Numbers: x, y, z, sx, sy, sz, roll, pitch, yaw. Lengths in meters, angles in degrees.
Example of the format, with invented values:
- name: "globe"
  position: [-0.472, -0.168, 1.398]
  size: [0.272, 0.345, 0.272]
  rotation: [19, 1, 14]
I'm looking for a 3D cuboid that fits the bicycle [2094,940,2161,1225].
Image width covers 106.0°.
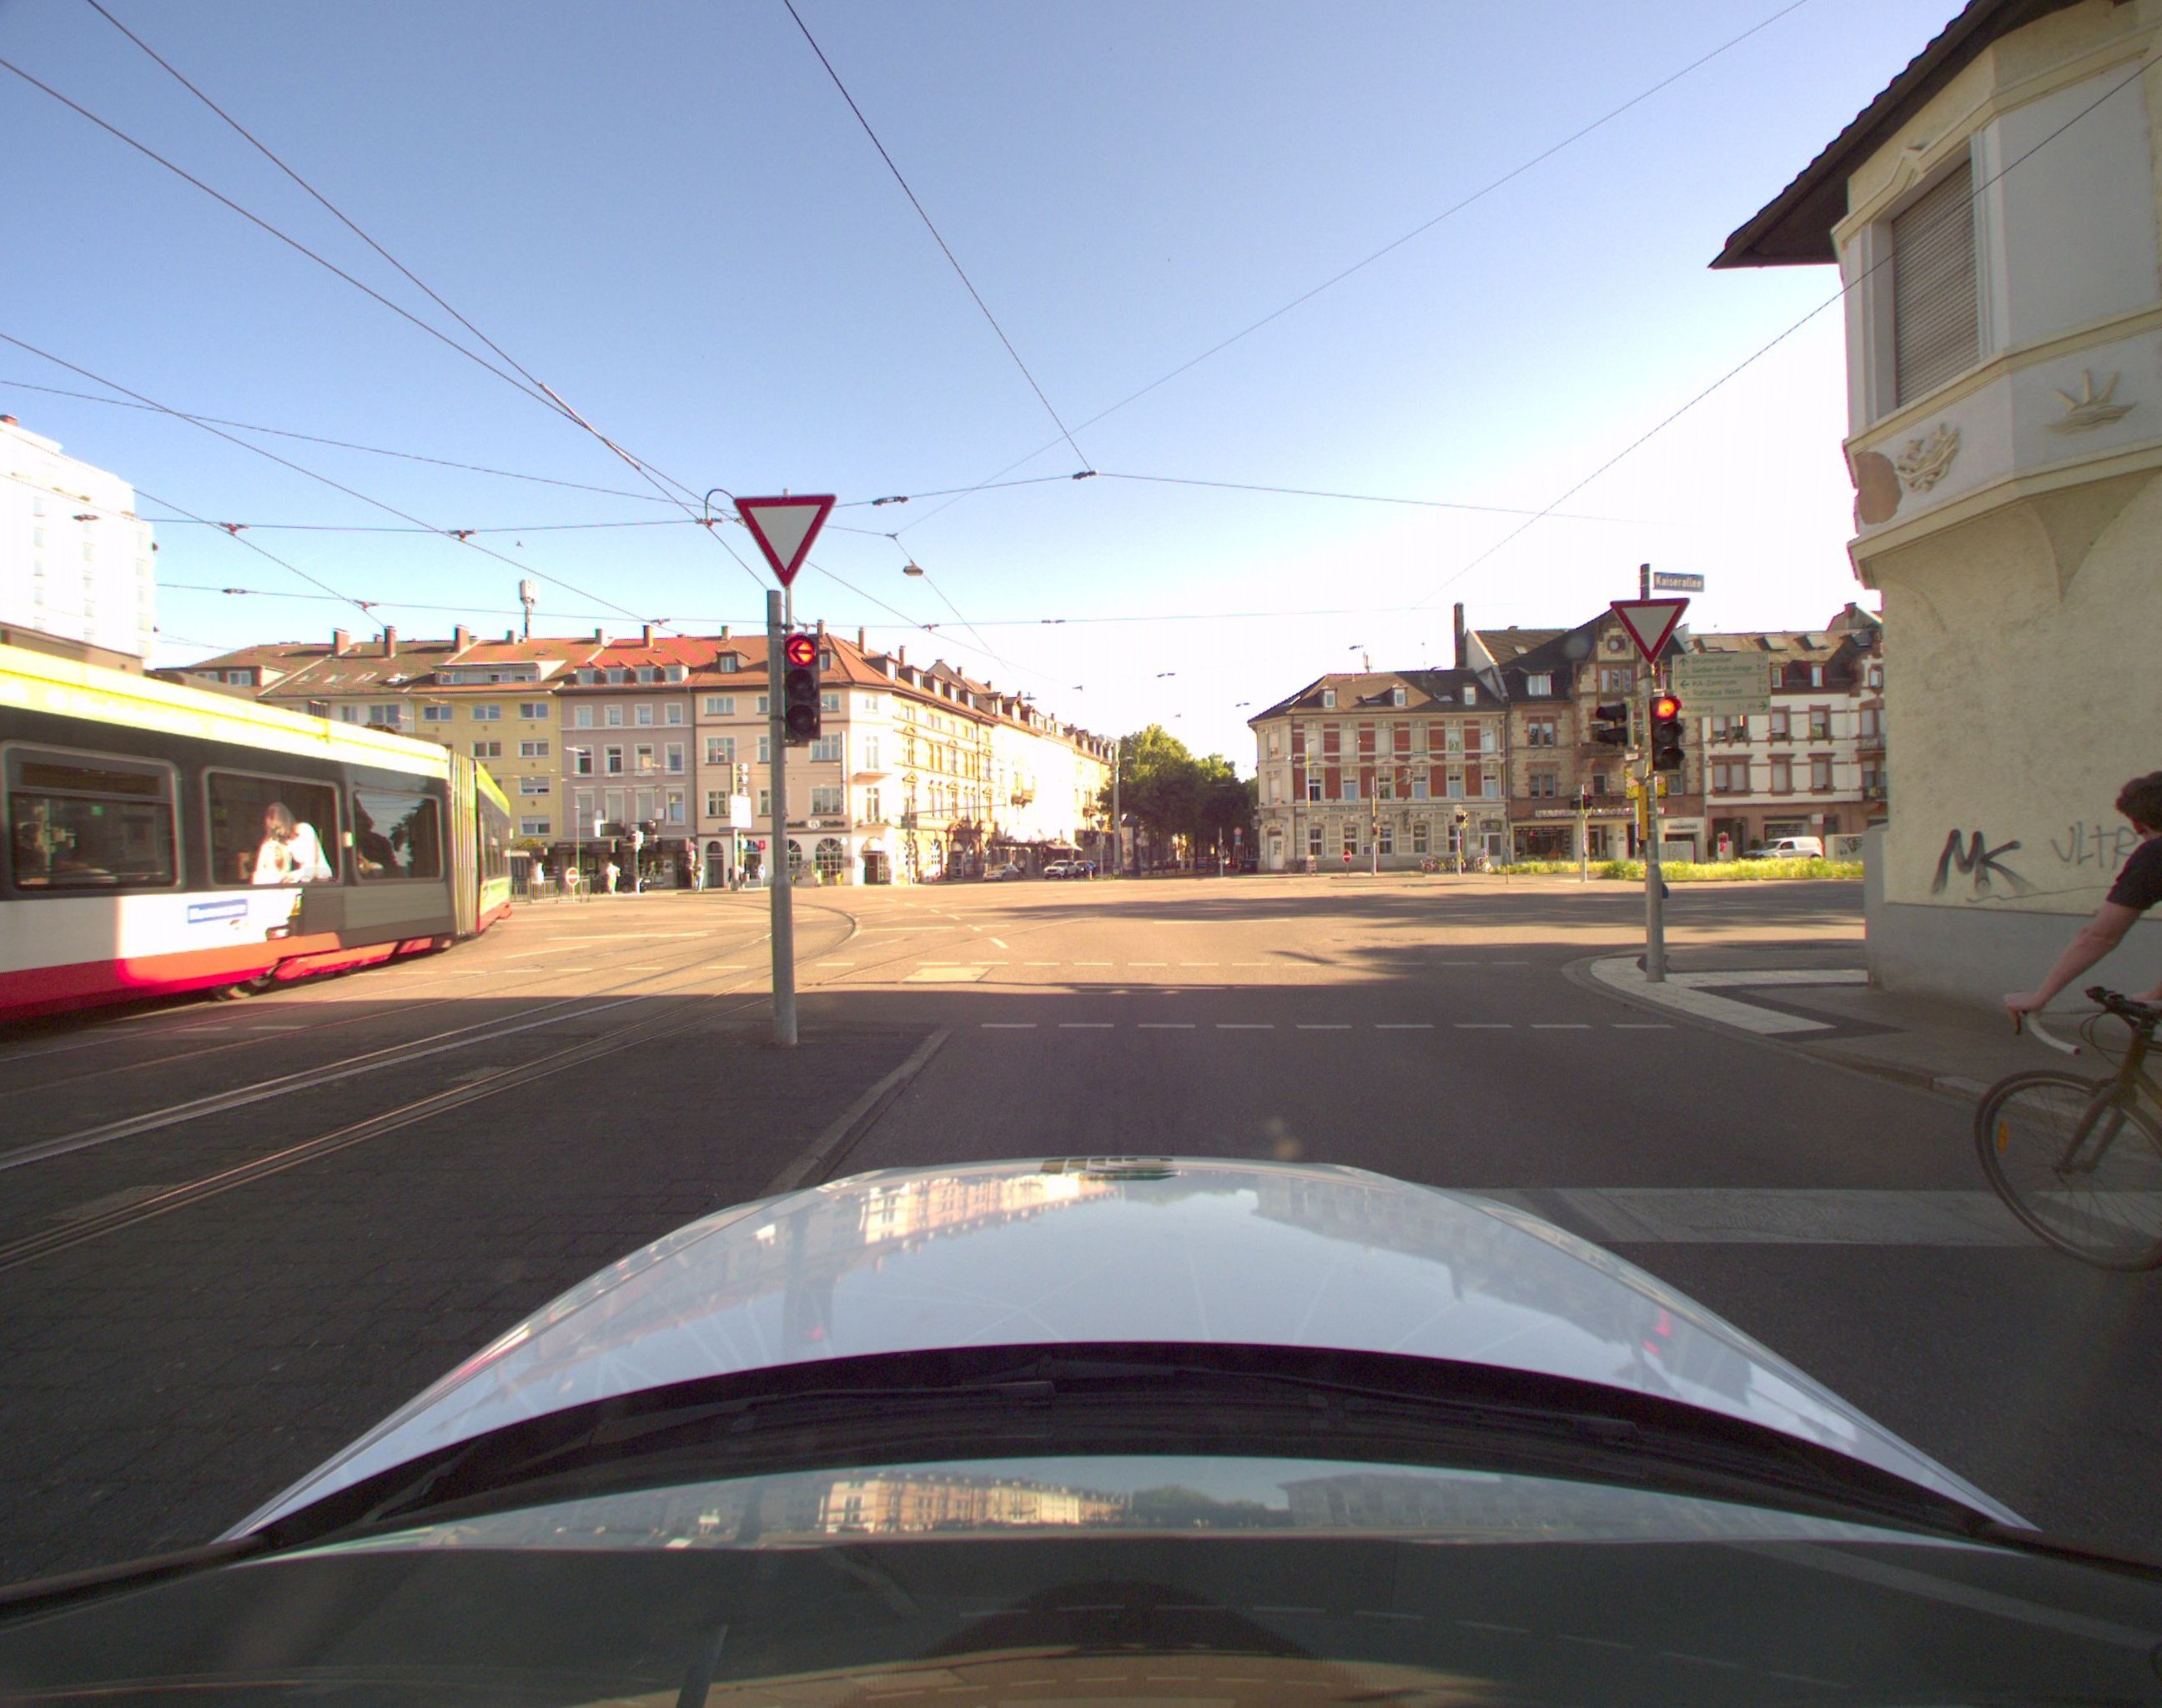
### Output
- name: "bicycle"
  position: [4.488, 0.935, 2.510]
  size: [0.516, 1.090, 1.796]
  rotation: [-1, 2, 1]

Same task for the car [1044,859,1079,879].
- name: "car"
  position: [-1.607, 1.212, 67.510]
  size: [1.664, 1.483, 3.789]
  rotation: [-2, 0, 19]

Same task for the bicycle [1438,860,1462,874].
- name: "bicycle"
  position: [23.883, 0.823, 52.740]
  size: [0.656, 0.840, 2.162]
  rotation: [0, -1, 3]

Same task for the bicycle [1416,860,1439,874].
- name: "bicycle"
  position: [22.424, 0.833, 52.696]
  size: [0.656, 0.840, 2.162]
  rotation: [0, -1, 3]

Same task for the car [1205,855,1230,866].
- name: "car"
  position: [21.448, 1.067, 127.720]
  size: [3.549, 1.648, 1.691]
  rotation: [-1, 0, 19]

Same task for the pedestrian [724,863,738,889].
- name: "pedestrian"
  position: [-22.797, 1.417, 53.063]
  size: [0.580, 1.670, 0.753]
  rotation: [0, -1, 2]

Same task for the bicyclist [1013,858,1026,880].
- name: "bicyclist"
  position: [-4.942, 1.206, 65.414]
  size: [0.772, 1.803, 1.060]
  rotation: [-1, -1, 16]

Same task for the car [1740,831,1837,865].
- name: "car"
  position: [45.442, -0.364, 52.401]
  size: [4.406, 2.013, 2.002]
  rotation: [-1, 0, 4]

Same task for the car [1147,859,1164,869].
- name: "car"
  position: [11.242, 1.539, 122.363]
  size: [1.664, 1.354, 3.608]
  rotation: [-1, 0, 19]

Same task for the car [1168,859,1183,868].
- name: "car"
  position: [15.719, 1.527, 135.601]
  size: [1.664, 1.354, 3.608]
  rotation: [-1, 0, 19]

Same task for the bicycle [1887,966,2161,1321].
- name: "bicycle"
  position: [3.598, 0.957, 2.509]
  size: [0.516, 0.970, 1.750]
  rotation: [-1, 0, 2]

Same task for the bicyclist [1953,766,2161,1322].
- name: "bicyclist"
  position: [3.574, 0.576, 2.500]
  size: [0.570, 1.701, 1.117]
  rotation: [-1, 0, 2]

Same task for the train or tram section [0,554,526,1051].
- name: "train or tram section"
  position: [-10.090, -0.359, 7.874]
  size: [2.933, 3.814, 12.771]
  rotation: [-1, 0, -11]

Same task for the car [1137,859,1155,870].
- name: "car"
  position: [9.171, 1.495, 115.446]
  size: [1.664, 1.354, 3.608]
  rotation: [-1, 0, 19]

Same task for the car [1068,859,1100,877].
- name: "car"
  position: [0.306, 1.240, 73.769]
  size: [1.664, 1.483, 3.967]
  rotation: [-2, 0, 19]

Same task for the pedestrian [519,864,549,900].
- name: "pedestrian"
  position: [-24.160, 1.223, 35.977]
  size: [0.657, 1.577, 0.889]
  rotation: [-1, -1, 29]

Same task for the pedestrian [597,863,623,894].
- name: "pedestrian"
  position: [-24.621, 1.275, 42.562]
  size: [0.842, 1.577, 0.836]
  rotation: [-1, -1, 11]

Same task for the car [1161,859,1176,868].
- name: "car"
  position: [14.032, 1.507, 130.608]
  size: [1.664, 1.354, 3.608]
  rotation: [-1, 0, 19]

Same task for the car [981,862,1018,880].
- name: "car"
  position: [-6.711, 1.421, 67.226]
  size: [1.664, 1.354, 3.608]
  rotation: [-1, 0, 19]

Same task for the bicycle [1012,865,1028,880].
- name: "bicycle"
  position: [-4.896, 1.481, 65.534]
  size: [0.696, 1.118, 1.642]
  rotation: [-1, -1, 16]

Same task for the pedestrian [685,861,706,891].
- name: "pedestrian"
  position: [-20.006, 1.132, 42.257]
  size: [0.545, 1.577, 0.838]
  rotation: [-1, -1, 29]

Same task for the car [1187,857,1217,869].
- name: "car"
  position: [17.203, 1.263, 115.454]
  size: [3.870, 1.648, 1.691]
  rotation: [-1, 0, 19]

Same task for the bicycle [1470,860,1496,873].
- name: "bicycle"
  position: [26.007, 0.808, 52.717]
  size: [0.656, 0.840, 2.162]
  rotation: [0, -1, 3]

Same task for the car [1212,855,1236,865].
- name: "car"
  position: [23.354, 0.975, 133.154]
  size: [3.549, 1.648, 1.691]
  rotation: [-1, 0, 19]

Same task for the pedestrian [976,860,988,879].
- name: "pedestrian"
  position: [-8.695, 1.336, 71.569]
  size: [0.770, 1.670, 0.834]
  rotation: [-1, -1, 17]

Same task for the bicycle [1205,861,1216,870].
- name: "bicycle"
  position: [15.768, 1.397, 99.279]
  size: [0.636, 1.021, 1.839]
  rotation: [0, -1, -12]

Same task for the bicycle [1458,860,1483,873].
- name: "bicycle"
  position: [25.203, 0.814, 52.702]
  size: [0.656, 0.840, 2.162]
  rotation: [0, -1, 3]

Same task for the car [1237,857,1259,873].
- name: "car"
  position: [16.902, 1.103, 82.334]
  size: [1.664, 1.483, 3.967]
  rotation: [-2, 0, 19]

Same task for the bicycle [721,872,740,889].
- name: "bicycle"
  position: [-22.799, 1.715, 52.993]
  size: [0.570, 1.077, 1.497]
  rotation: [0, -1, 2]

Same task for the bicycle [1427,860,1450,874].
- name: "bicycle"
  position: [23.159, 0.828, 52.755]
  size: [0.656, 0.840, 2.162]
  rotation: [0, -1, 3]

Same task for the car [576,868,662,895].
- name: "car"
  position: [-30.367, 1.775, 53.637]
  size: [4.347, 1.711, 2.308]
  rotation: [0, -1, 4]

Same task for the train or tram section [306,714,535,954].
- name: "train or tram section"
  position: [-14.383, -0.255, 18.717]
  size: [2.953, 3.814, 11.992]
  rotation: [-1, 0, -34]

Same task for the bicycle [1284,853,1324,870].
- name: "bicycle"
  position: [15.602, 0.505, 57.059]
  size: [2.547, 1.174, 0.818]
  rotation: [0, -1, -1]

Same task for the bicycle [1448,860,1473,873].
- name: "bicycle"
  position: [24.566, 0.818, 52.747]
  size: [0.656, 0.840, 2.162]
  rotation: [0, -1, 3]

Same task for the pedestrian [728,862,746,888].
- name: "pedestrian"
  position: [-21.243, 1.282, 50.255]
  size: [0.838, 1.577, 0.718]
  rotation: [0, -1, -45]
